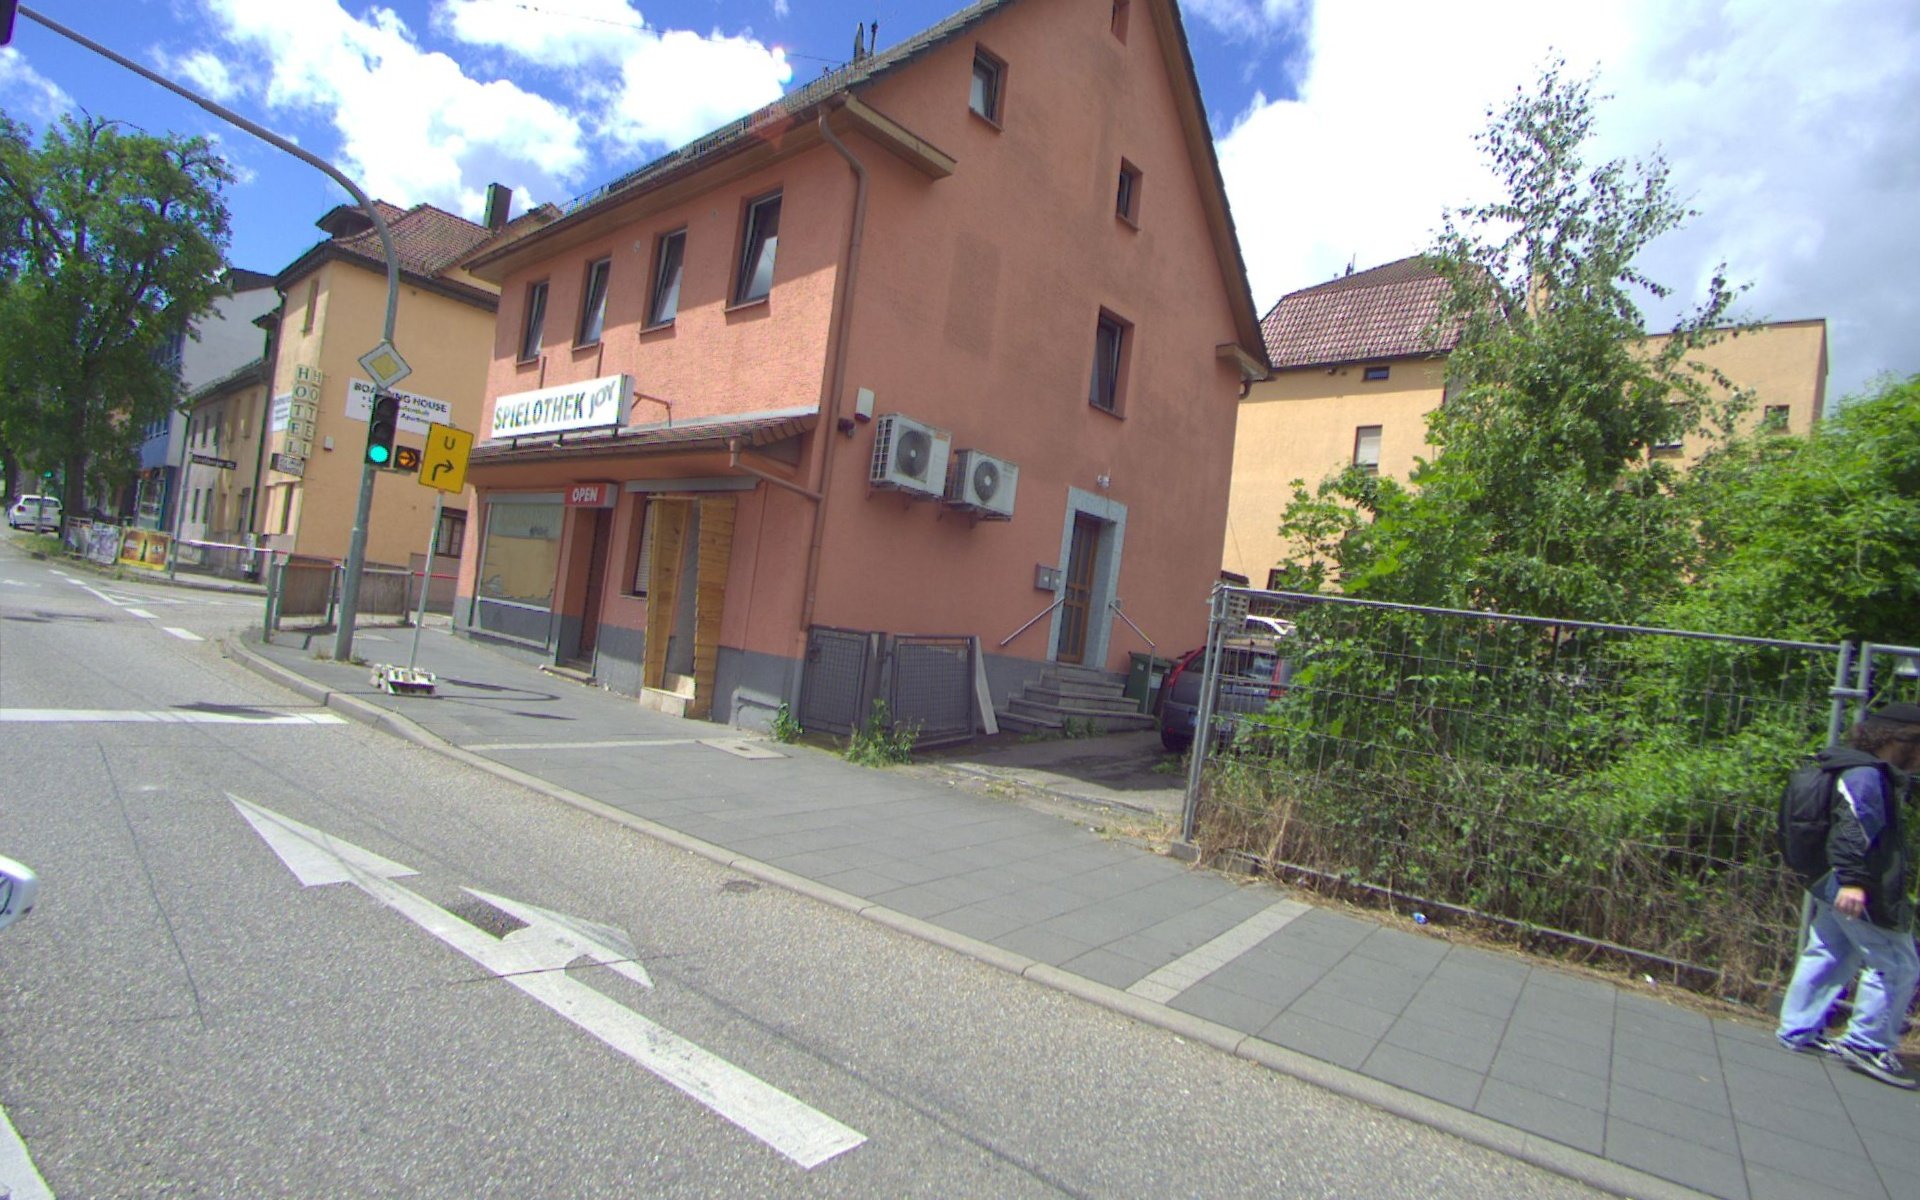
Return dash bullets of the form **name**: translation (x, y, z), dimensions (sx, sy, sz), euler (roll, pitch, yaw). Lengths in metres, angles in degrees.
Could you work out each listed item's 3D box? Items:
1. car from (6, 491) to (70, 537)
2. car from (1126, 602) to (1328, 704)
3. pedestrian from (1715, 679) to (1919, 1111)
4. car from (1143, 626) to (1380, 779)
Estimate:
- **car**: translation (-39.594, -3.689, 43.166), dimensions (1.782, 1.615, 3.950), euler (7, -1, -45)
- **car**: translation (6.211, 1.220, 23.647), dimensions (3.947, 1.804, 1.990), euler (7, -1, 44)
- **pedestrian**: translation (4.046, 1.254, 4.534), dimensions (0.767, 1.663, 0.762), euler (9, 1, 43)
- **car**: translation (3.793, 1.198, 12.481), dimensions (1.627, 1.516, 2.796), euler (7, 2, 43)
